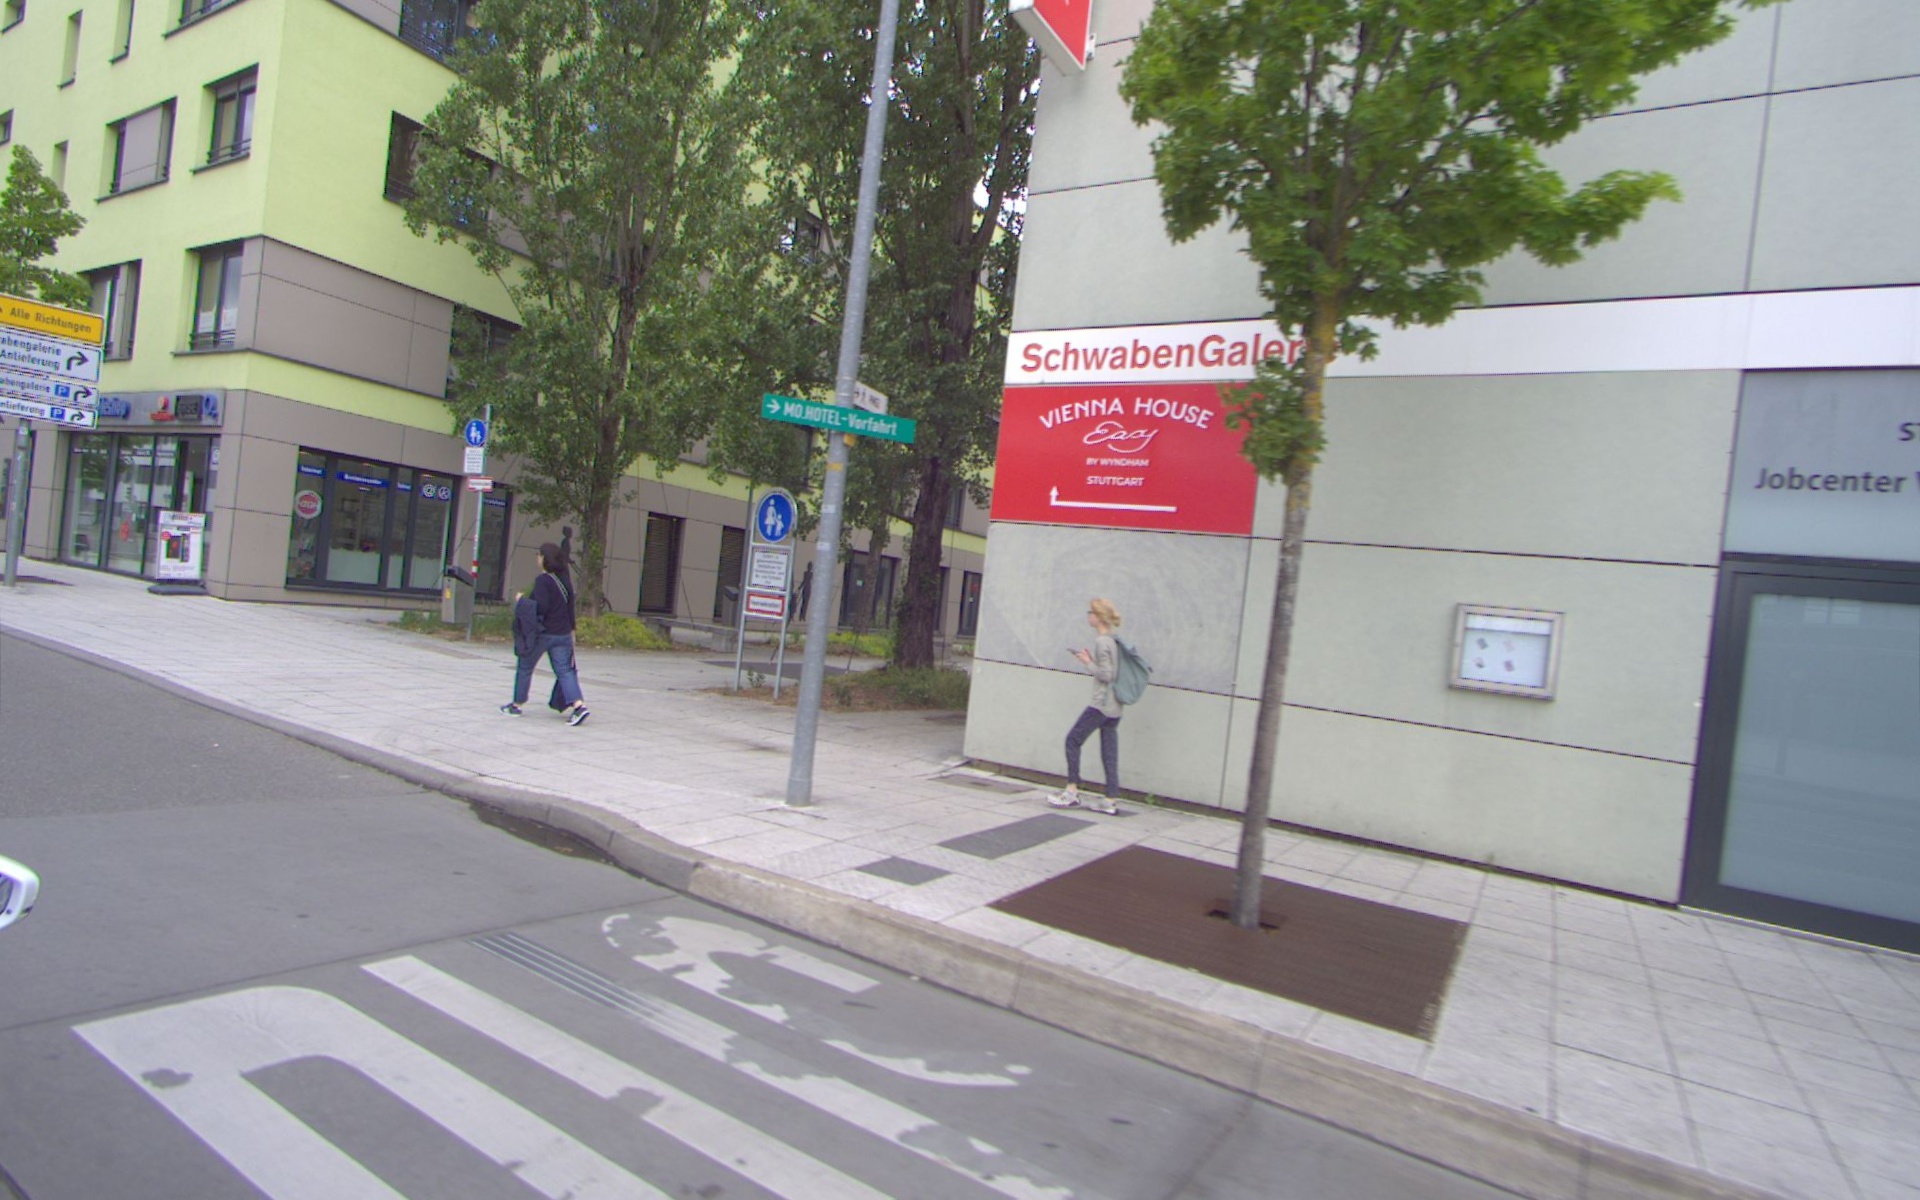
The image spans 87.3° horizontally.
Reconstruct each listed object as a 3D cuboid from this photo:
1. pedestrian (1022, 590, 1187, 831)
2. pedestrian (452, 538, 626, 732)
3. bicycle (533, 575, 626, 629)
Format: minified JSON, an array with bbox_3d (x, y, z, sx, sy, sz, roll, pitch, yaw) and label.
[{"bbox_3d":[1.092,0.786,7.502,0.791,1.603,0.869,7,1,31],"label":"pedestrian"},{"bbox_3d":[-3.857,0.314,9.243,0.999,1.603,0.948,6,1,31],"label":"pedestrian"},{"bbox_3d":[-8.545,0.056,22.660,0.533,1.012,1.879,7,-1,36],"label":"bicycle"}]
